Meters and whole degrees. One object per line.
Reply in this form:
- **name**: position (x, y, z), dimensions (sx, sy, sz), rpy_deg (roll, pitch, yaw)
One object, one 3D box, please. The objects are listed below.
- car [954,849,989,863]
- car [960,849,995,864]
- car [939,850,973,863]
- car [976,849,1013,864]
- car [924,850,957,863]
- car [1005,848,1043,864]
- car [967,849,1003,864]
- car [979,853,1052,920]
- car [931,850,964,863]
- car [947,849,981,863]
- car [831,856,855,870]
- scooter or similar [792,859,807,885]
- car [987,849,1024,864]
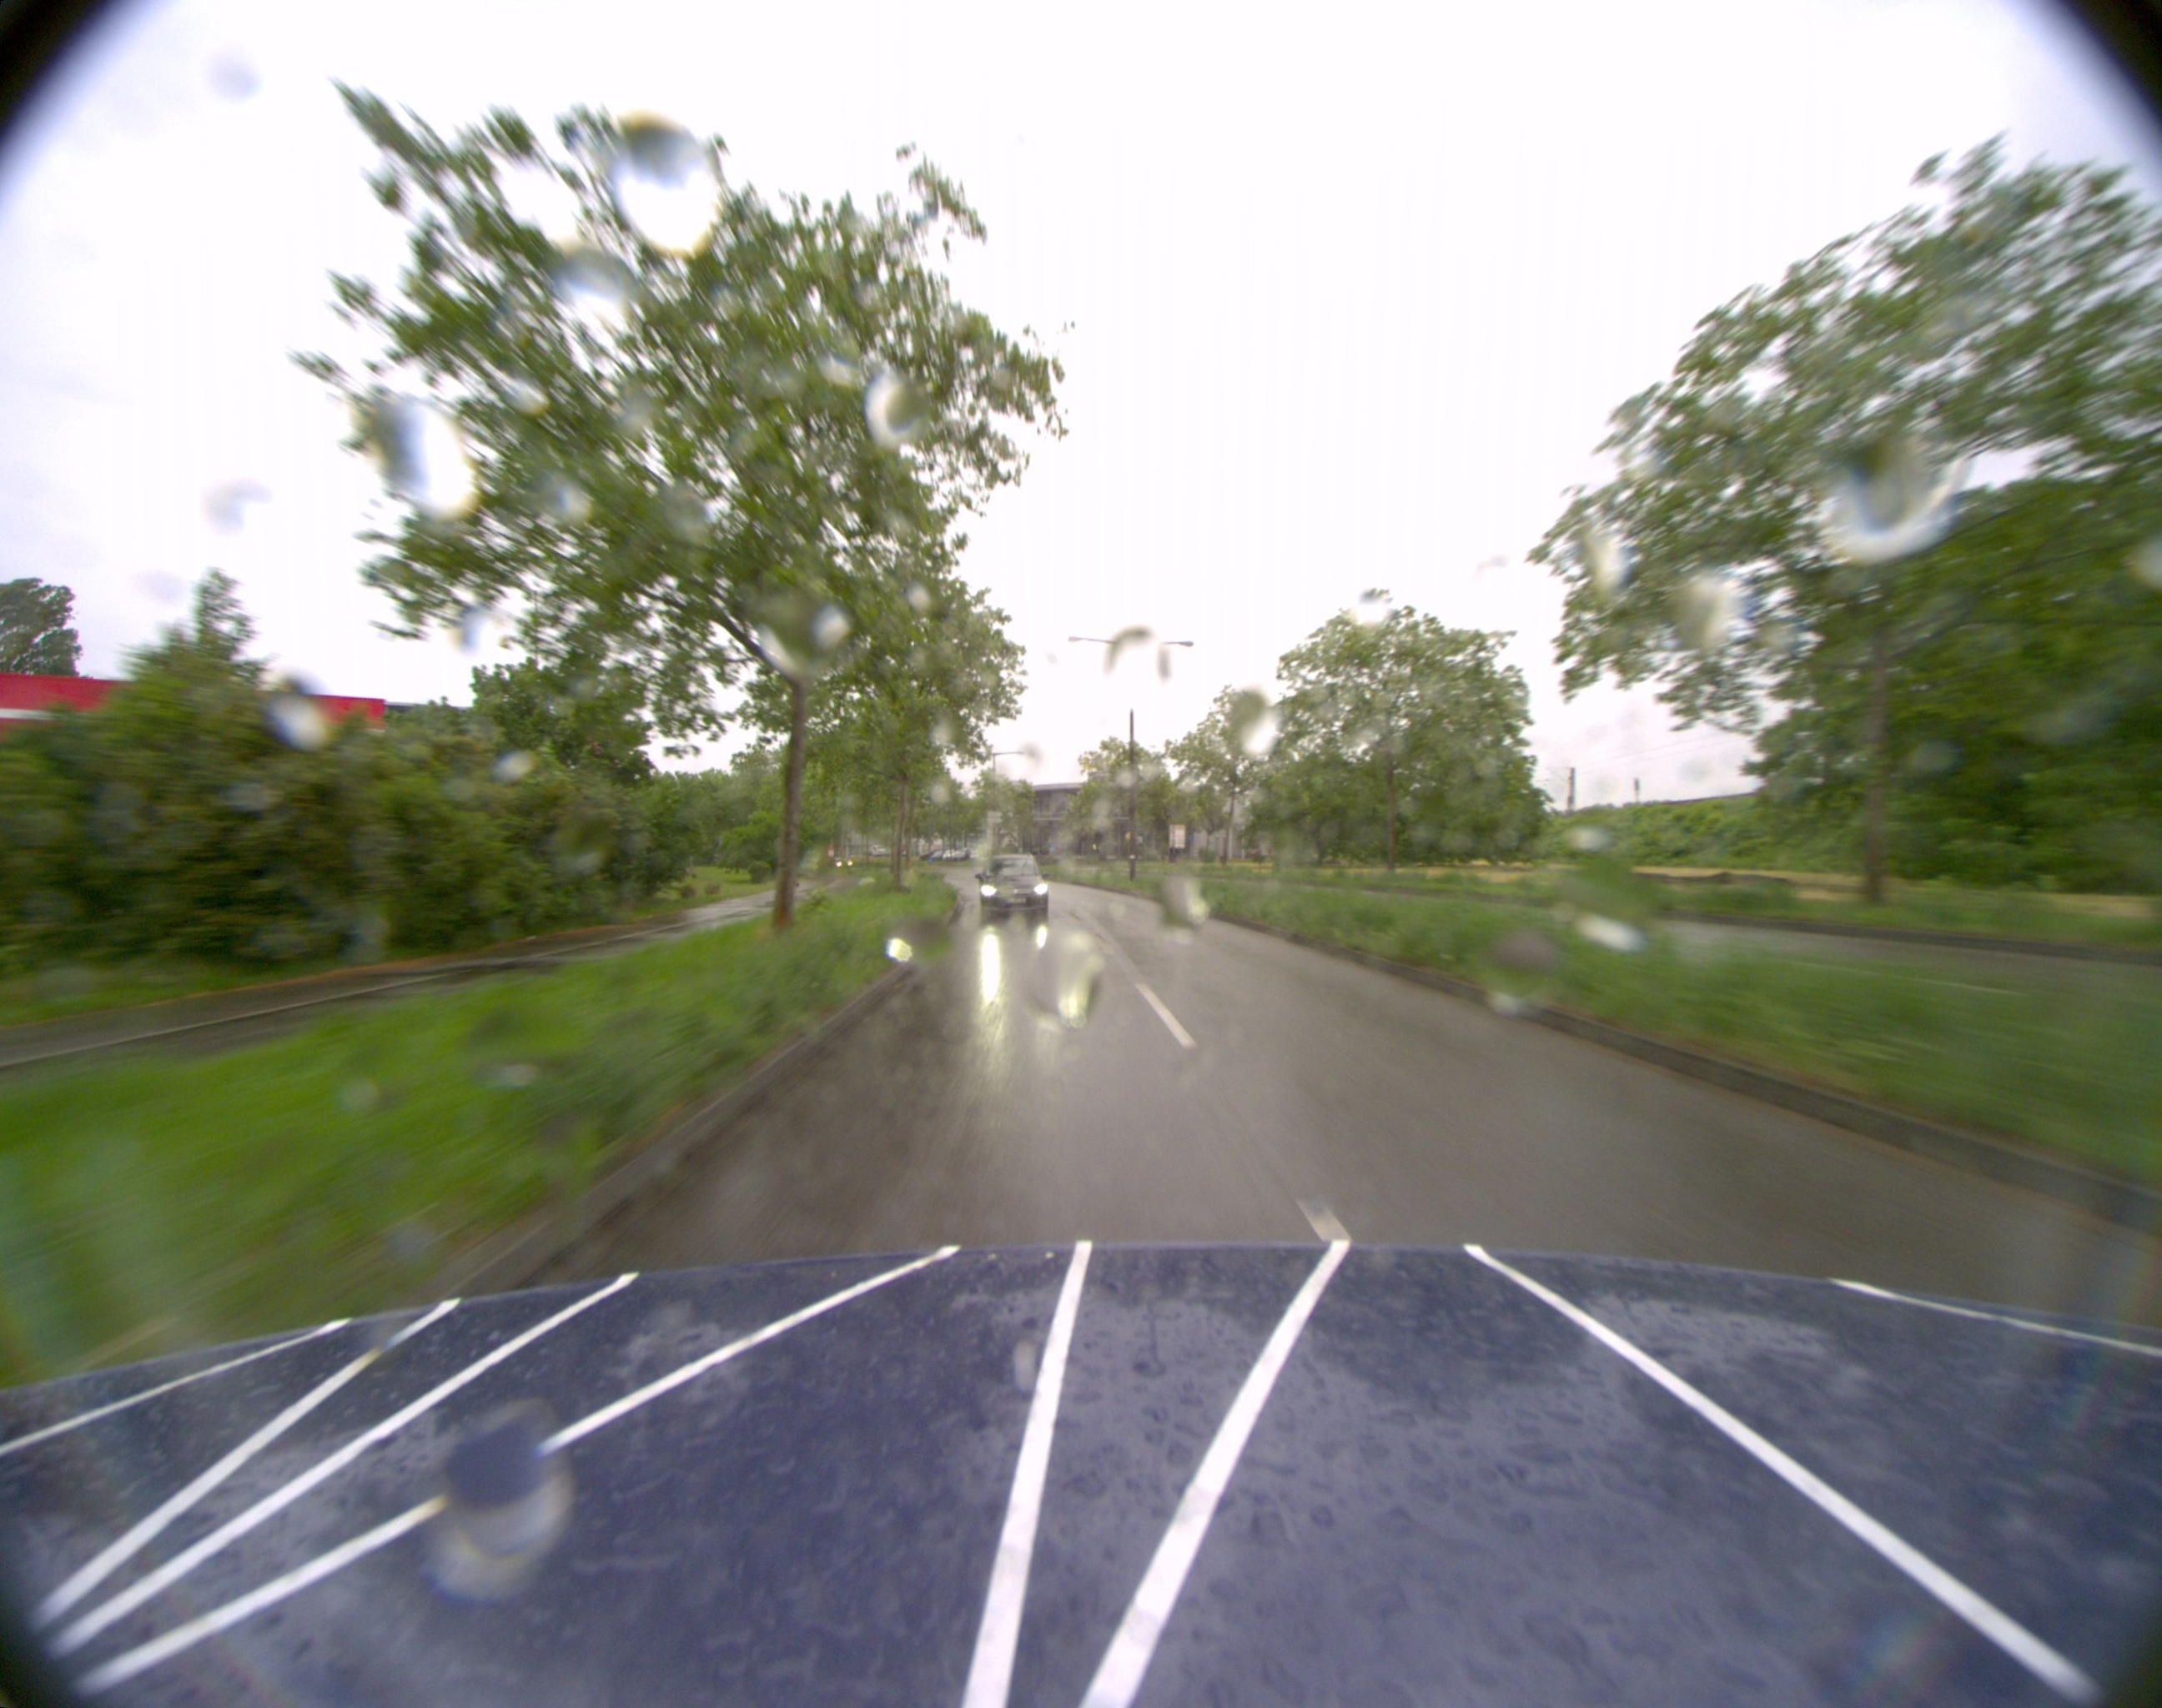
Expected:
- **car**: position (-14.118, 0.293, 97.918), dimensions (4.007, 1.650, 1.860), rpy_deg (-3, 2, -41)
- **car**: position (-13.027, 0.293, 96.016), dimensions (4.007, 1.650, 1.860), rpy_deg (-3, 2, -41)
- **car**: position (-16.681, 0.308, 101.683), dimensions (4.007, 1.650, 1.860), rpy_deg (-3, 2, -41)
- **car**: position (-10.454, 0.309, 92.073), dimensions (4.007, 1.650, 1.860), rpy_deg (-3, 2, -41)
- **car**: position (-19.370, 0.344, 104.592), dimensions (4.007, 1.650, 1.860), rpy_deg (-3, 2, -41)
- **car**: position (-6.541, 0.264, 87.427), dimensions (4.007, 1.650, 1.860), rpy_deg (-3, 2, -41)
- **car**: position (-11.867, 0.291, 94.039), dimensions (4.007, 1.650, 1.860), rpy_deg (-3, 2, -41)
- **car**: position (-1.979, 0.831, 21.777), dimensions (1.789, 1.605, 4.713), rpy_deg (-2, 1, -8)
- **car**: position (-18.084, 0.327, 103.181), dimensions (4.007, 1.650, 1.860), rpy_deg (-3, 2, -41)
- **car**: position (-15.329, 0.297, 99.846), dimensions (4.007, 1.650, 1.860), rpy_deg (-3, 2, -41)
- **car**: position (-30.257, 1.101, 96.529), dimensions (2.003, 1.641, 3.990), rpy_deg (-2, 1, -30)
- **scooter or similar**: position (-14.042, 0.882, 37.879), dimensions (0.452, 1.267, 1.597), rpy_deg (-1, 1, -27)
- **car**: position (-9.008, 0.290, 90.499), dimensions (4.007, 1.650, 1.860), rpy_deg (-3, 2, -41)
